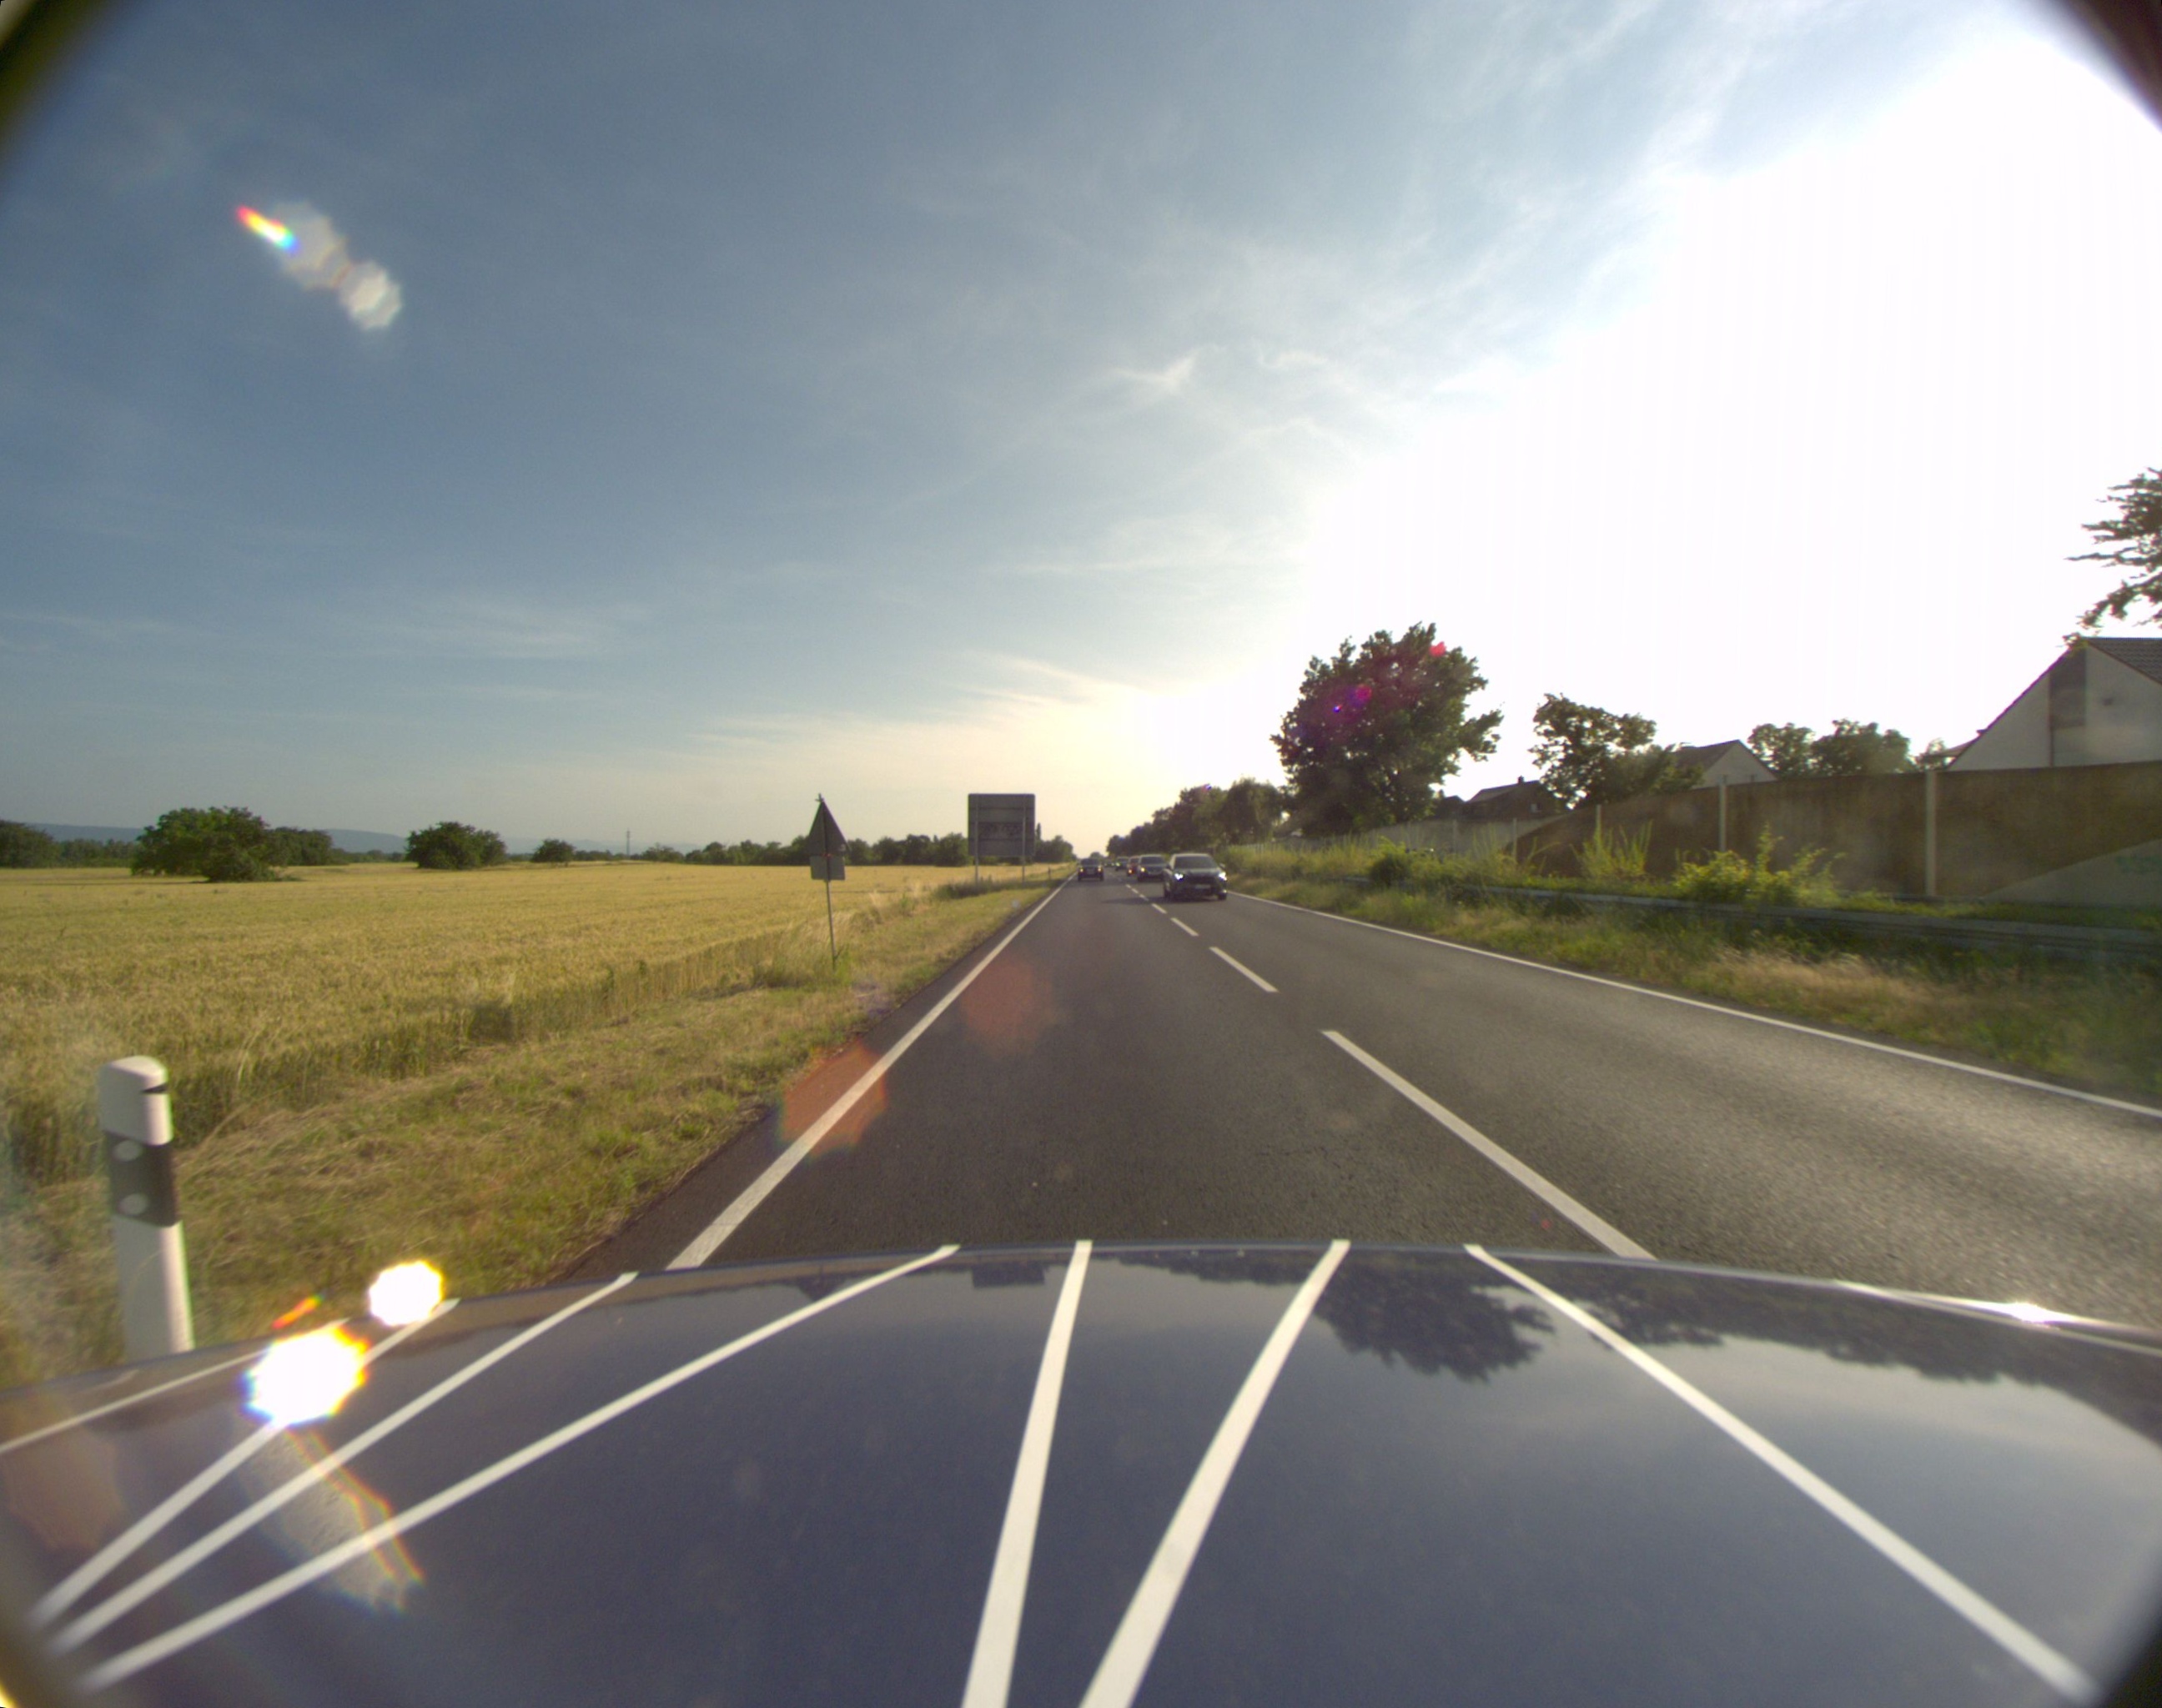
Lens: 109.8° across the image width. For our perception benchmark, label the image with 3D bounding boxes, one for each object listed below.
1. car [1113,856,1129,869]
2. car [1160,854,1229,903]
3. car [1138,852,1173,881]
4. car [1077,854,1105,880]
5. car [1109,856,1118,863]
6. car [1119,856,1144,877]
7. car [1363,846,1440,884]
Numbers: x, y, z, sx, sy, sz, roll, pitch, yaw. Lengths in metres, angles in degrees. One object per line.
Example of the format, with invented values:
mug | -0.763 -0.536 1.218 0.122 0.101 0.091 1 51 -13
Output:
car | 4.877 1.005 92.220 1.700 1.456 3.646 -2 0 0
car | 3.920 0.783 26.843 1.822 1.516 4.246 -2 0 1
car | 4.624 0.740 47.663 1.822 1.724 4.000 -2 0 1
car | 0.681 0.837 52.414 1.822 1.661 4.000 -2 0 0
car | 6.490 1.109 153.202 1.693 1.397 4.000 -2 0 0
car | 4.188 1.002 63.504 1.822 1.661 4.000 -2 0 1
car | 16.466 0.533 39.296 1.998 1.813 4.681 -2 0 1
